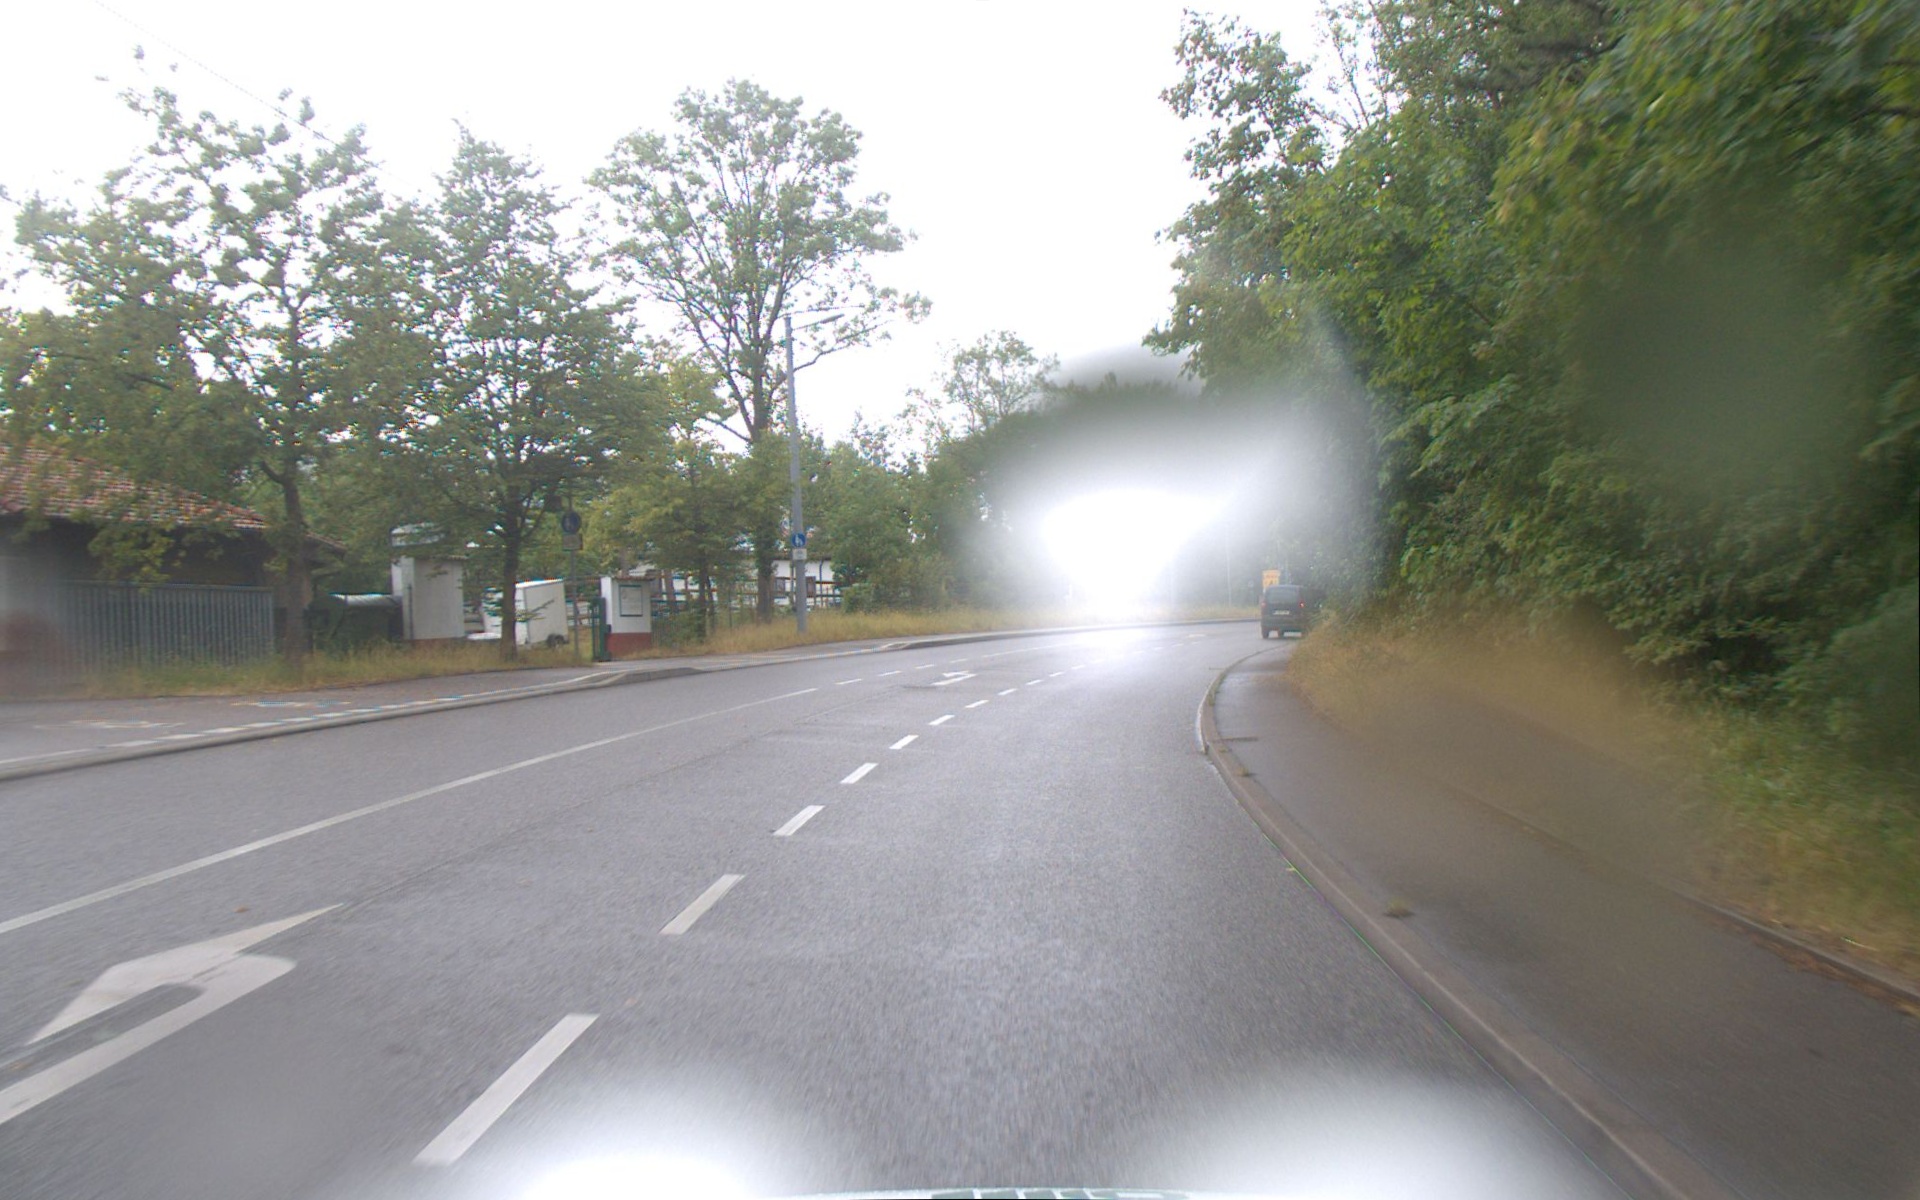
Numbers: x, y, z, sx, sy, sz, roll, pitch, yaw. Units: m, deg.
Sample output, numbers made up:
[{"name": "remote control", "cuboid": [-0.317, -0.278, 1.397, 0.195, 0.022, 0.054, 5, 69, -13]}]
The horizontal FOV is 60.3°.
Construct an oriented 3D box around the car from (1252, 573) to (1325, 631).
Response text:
[{"name": "car", "cuboid": [11.695, 0.056, 58.673, 1.790, 1.824, 4.001, -6, -1, 20]}]
